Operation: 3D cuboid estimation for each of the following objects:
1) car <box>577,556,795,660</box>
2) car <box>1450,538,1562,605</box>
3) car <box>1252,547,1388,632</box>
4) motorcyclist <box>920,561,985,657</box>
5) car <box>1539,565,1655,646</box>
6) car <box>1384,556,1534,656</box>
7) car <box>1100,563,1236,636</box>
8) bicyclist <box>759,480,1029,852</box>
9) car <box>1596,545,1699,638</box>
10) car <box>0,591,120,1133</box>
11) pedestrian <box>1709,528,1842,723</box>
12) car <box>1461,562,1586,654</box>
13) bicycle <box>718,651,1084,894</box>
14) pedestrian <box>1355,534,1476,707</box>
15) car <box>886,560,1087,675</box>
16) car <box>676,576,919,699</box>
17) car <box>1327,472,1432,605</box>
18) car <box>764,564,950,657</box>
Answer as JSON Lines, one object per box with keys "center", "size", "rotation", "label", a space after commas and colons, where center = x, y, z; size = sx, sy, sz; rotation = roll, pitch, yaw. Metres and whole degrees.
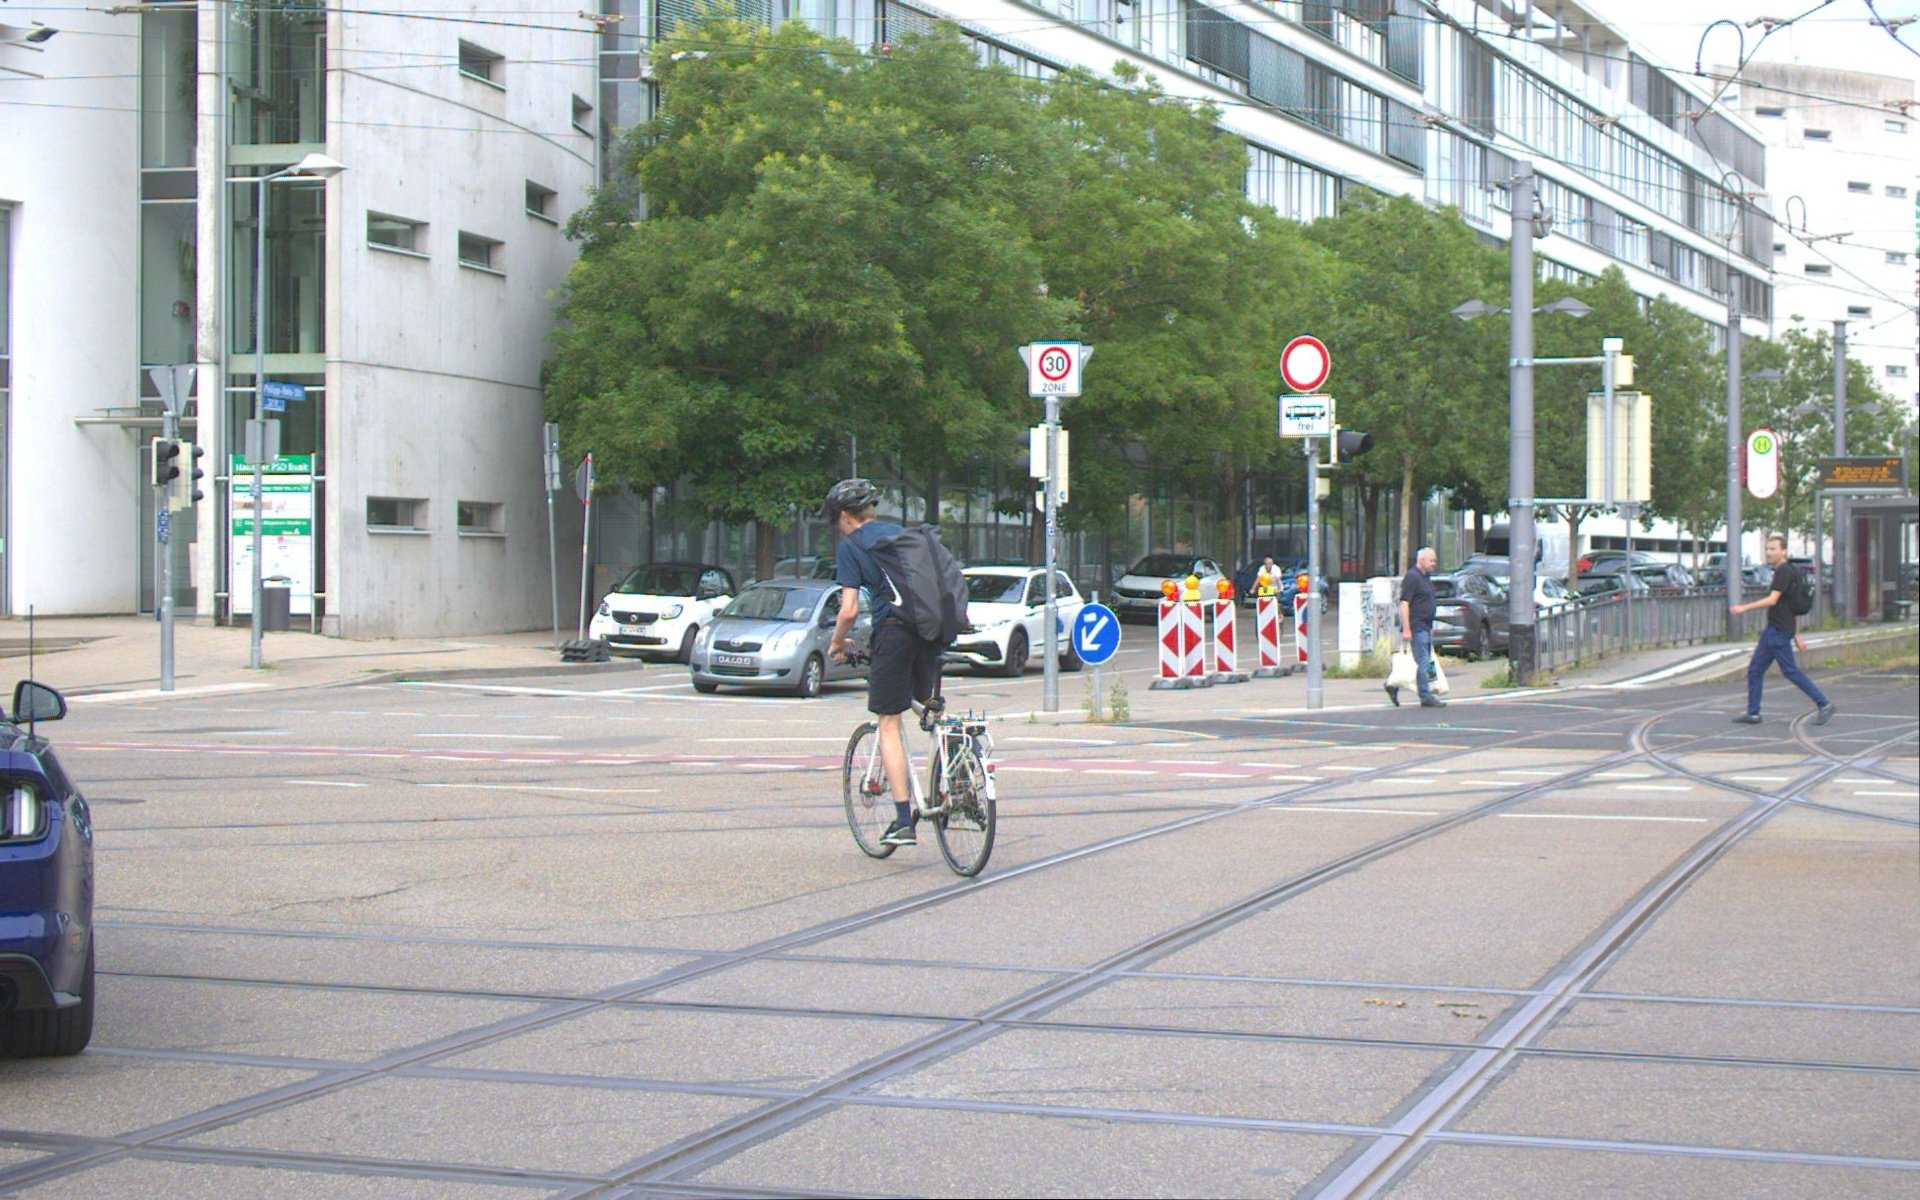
{"center": [-4.365, 0.092, 55.495], "size": [1.832, 1.551, 4.212], "rotation": [2, 1, 21], "label": "car"}
{"center": [13.797, -0.735, 86.668], "size": [1.905, 1.580, 4.177], "rotation": [2, 1, 21], "label": "car"}
{"center": [7.465, -0.243, 70.967], "size": [1.717, 1.654, 4.128], "rotation": [2, 1, 21], "label": "car"}
{"center": [-0.127, 0.149, 58.483], "size": [0.820, 1.611, 0.881], "rotation": [1, 1, 21], "label": "motorcyclist"}
{"center": [13.120, 0.085, 70.632], "size": [1.869, 1.600, 4.209], "rotation": [0, 1, 17], "label": "car"}
{"center": [8.431, 0.075, 57.828], "size": [1.881, 1.623, 4.083], "rotation": [0, 1, 17], "label": "car"}
{"center": [4.823, -0.029, 79.127], "size": [1.988, 1.551, 4.508], "rotation": [2, 1, 18], "label": "car"}
{"center": [-0.341, 0.307, 17.148], "size": [0.796, 1.779, 1.233], "rotation": [-1, 1, -34], "label": "bicyclist"}
{"center": [15.101, -0.207, 75.343], "size": [1.786, 1.980, 4.117], "rotation": [0, 1, 17], "label": "car"}
{"center": [-3.899, 0.707, 11.047], "size": [1.875, 1.399, 4.283], "rotation": [-1, 1, -20], "label": "car"}
{"center": [8.052, 0.246, 33.925], "size": [1.087, 1.892, 0.900], "rotation": [0, 0, 27], "label": "pedestrian"}
{"center": [10.305, 0.119, 62.658], "size": [1.706, 1.600, 4.075], "rotation": [0, 1, 17], "label": "car"}
{"center": [-0.330, 0.821, 17.165], "size": [0.800, 1.083, 2.131], "rotation": [-1, 1, -33], "label": "bicycle"}
{"center": [4.956, 0.216, 37.388], "size": [0.991, 1.849, 0.900], "rotation": [0, 0, 34], "label": "pedestrian"}
{"center": [0.456, 0.234, 53.219], "size": [1.717, 1.654, 4.128], "rotation": [2, 1, 21], "label": "car"}
{"center": [-2.134, 0.464, 46.409], "size": [1.669, 1.501, 4.230], "rotation": [2, 1, 21], "label": "car"}
{"center": [11.835, -1.737, 96.820], "size": [1.988, 3.624, 4.508], "rotation": [2, 1, 18], "label": "car"}
{"center": [-1.814, 0.167, 62.162], "size": [1.832, 1.551, 4.212], "rotation": [2, 1, 21], "label": "car"}
